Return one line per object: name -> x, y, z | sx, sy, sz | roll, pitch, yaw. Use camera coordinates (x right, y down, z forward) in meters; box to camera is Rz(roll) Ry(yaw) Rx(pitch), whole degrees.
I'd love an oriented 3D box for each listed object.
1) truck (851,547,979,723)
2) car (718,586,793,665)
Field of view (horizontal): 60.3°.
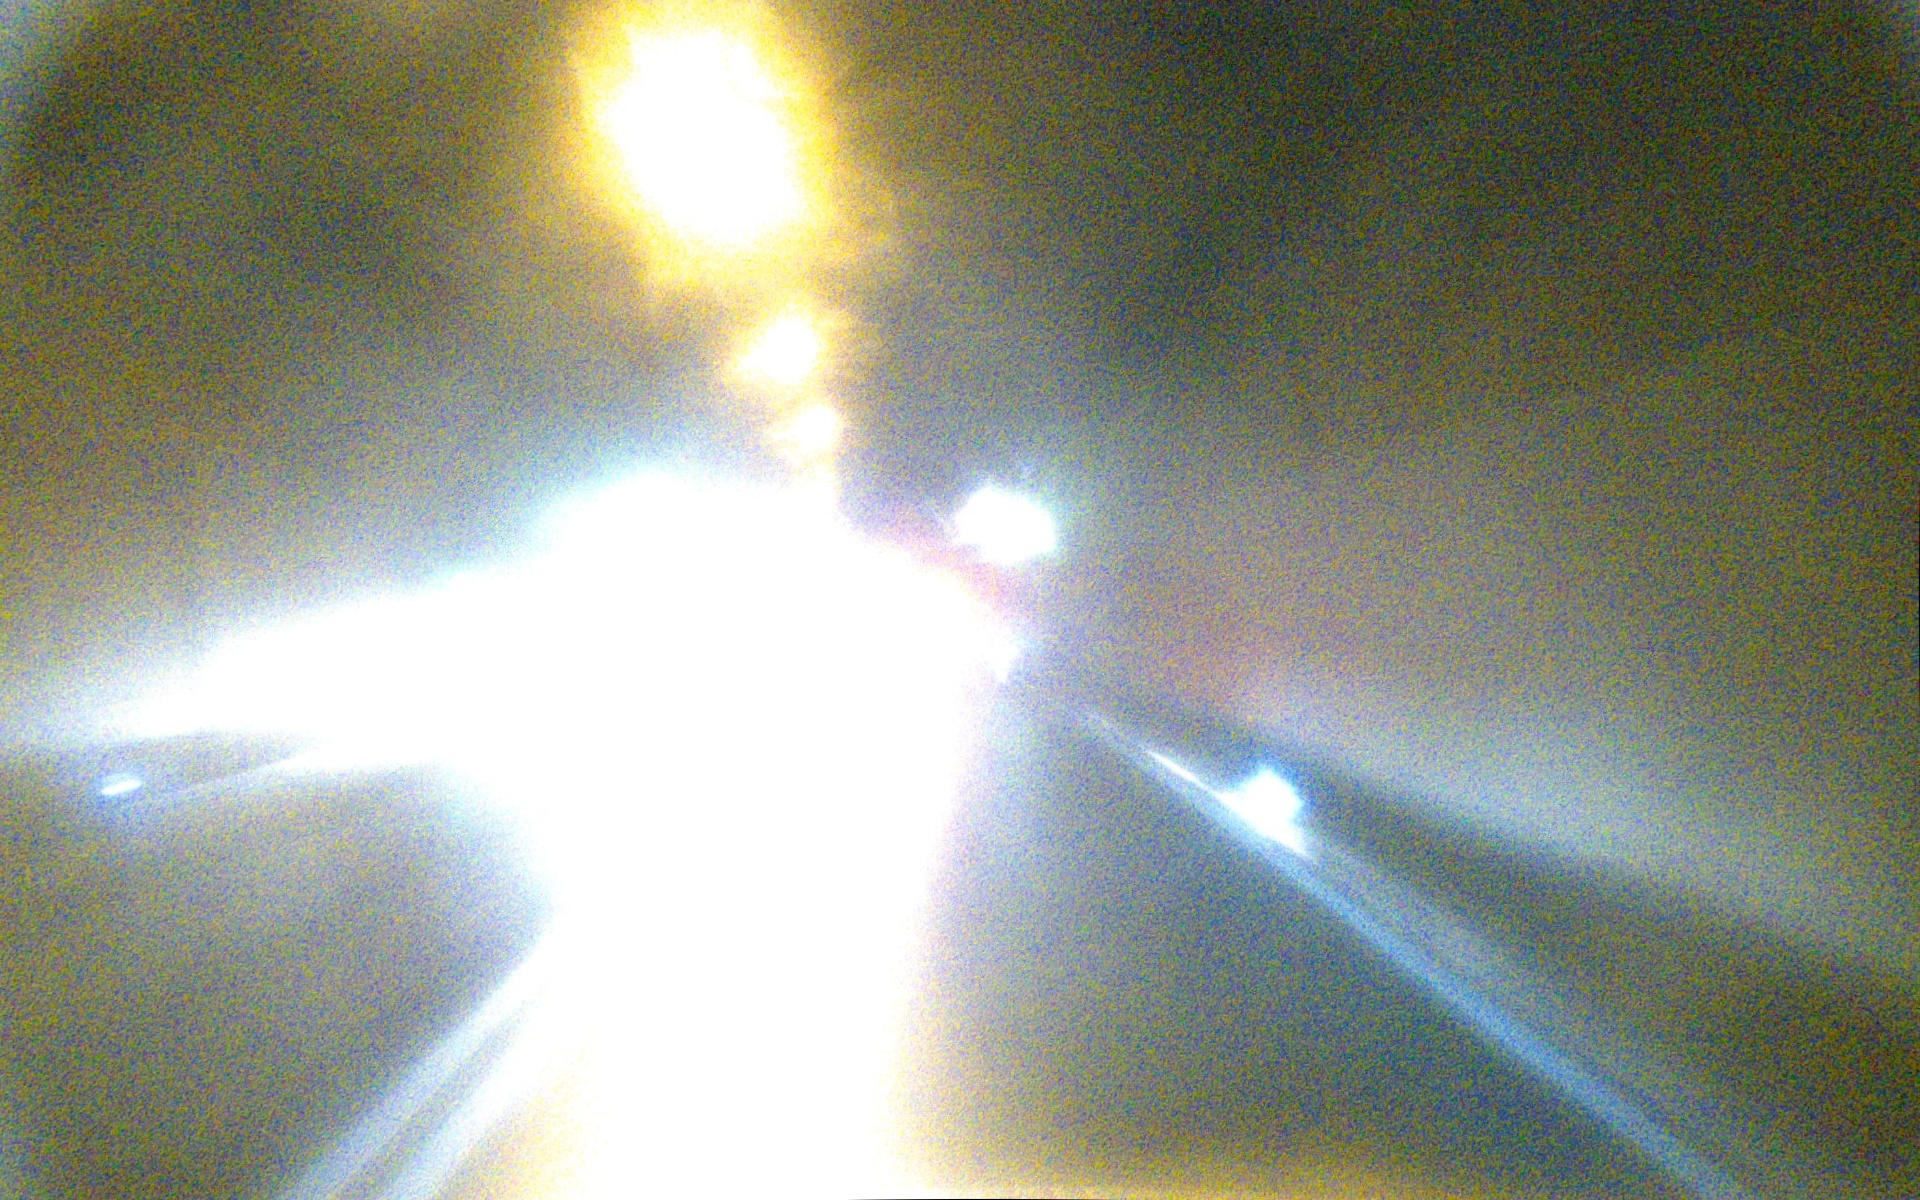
truck -> -0.802, 0.596, 32.461 | 2.216, 3.063, 7.414 | 0, 0, 0
car -> -4.674, 0.544, 38.130 | 1.600, 1.679, 3.770 | -2, 0, -6
